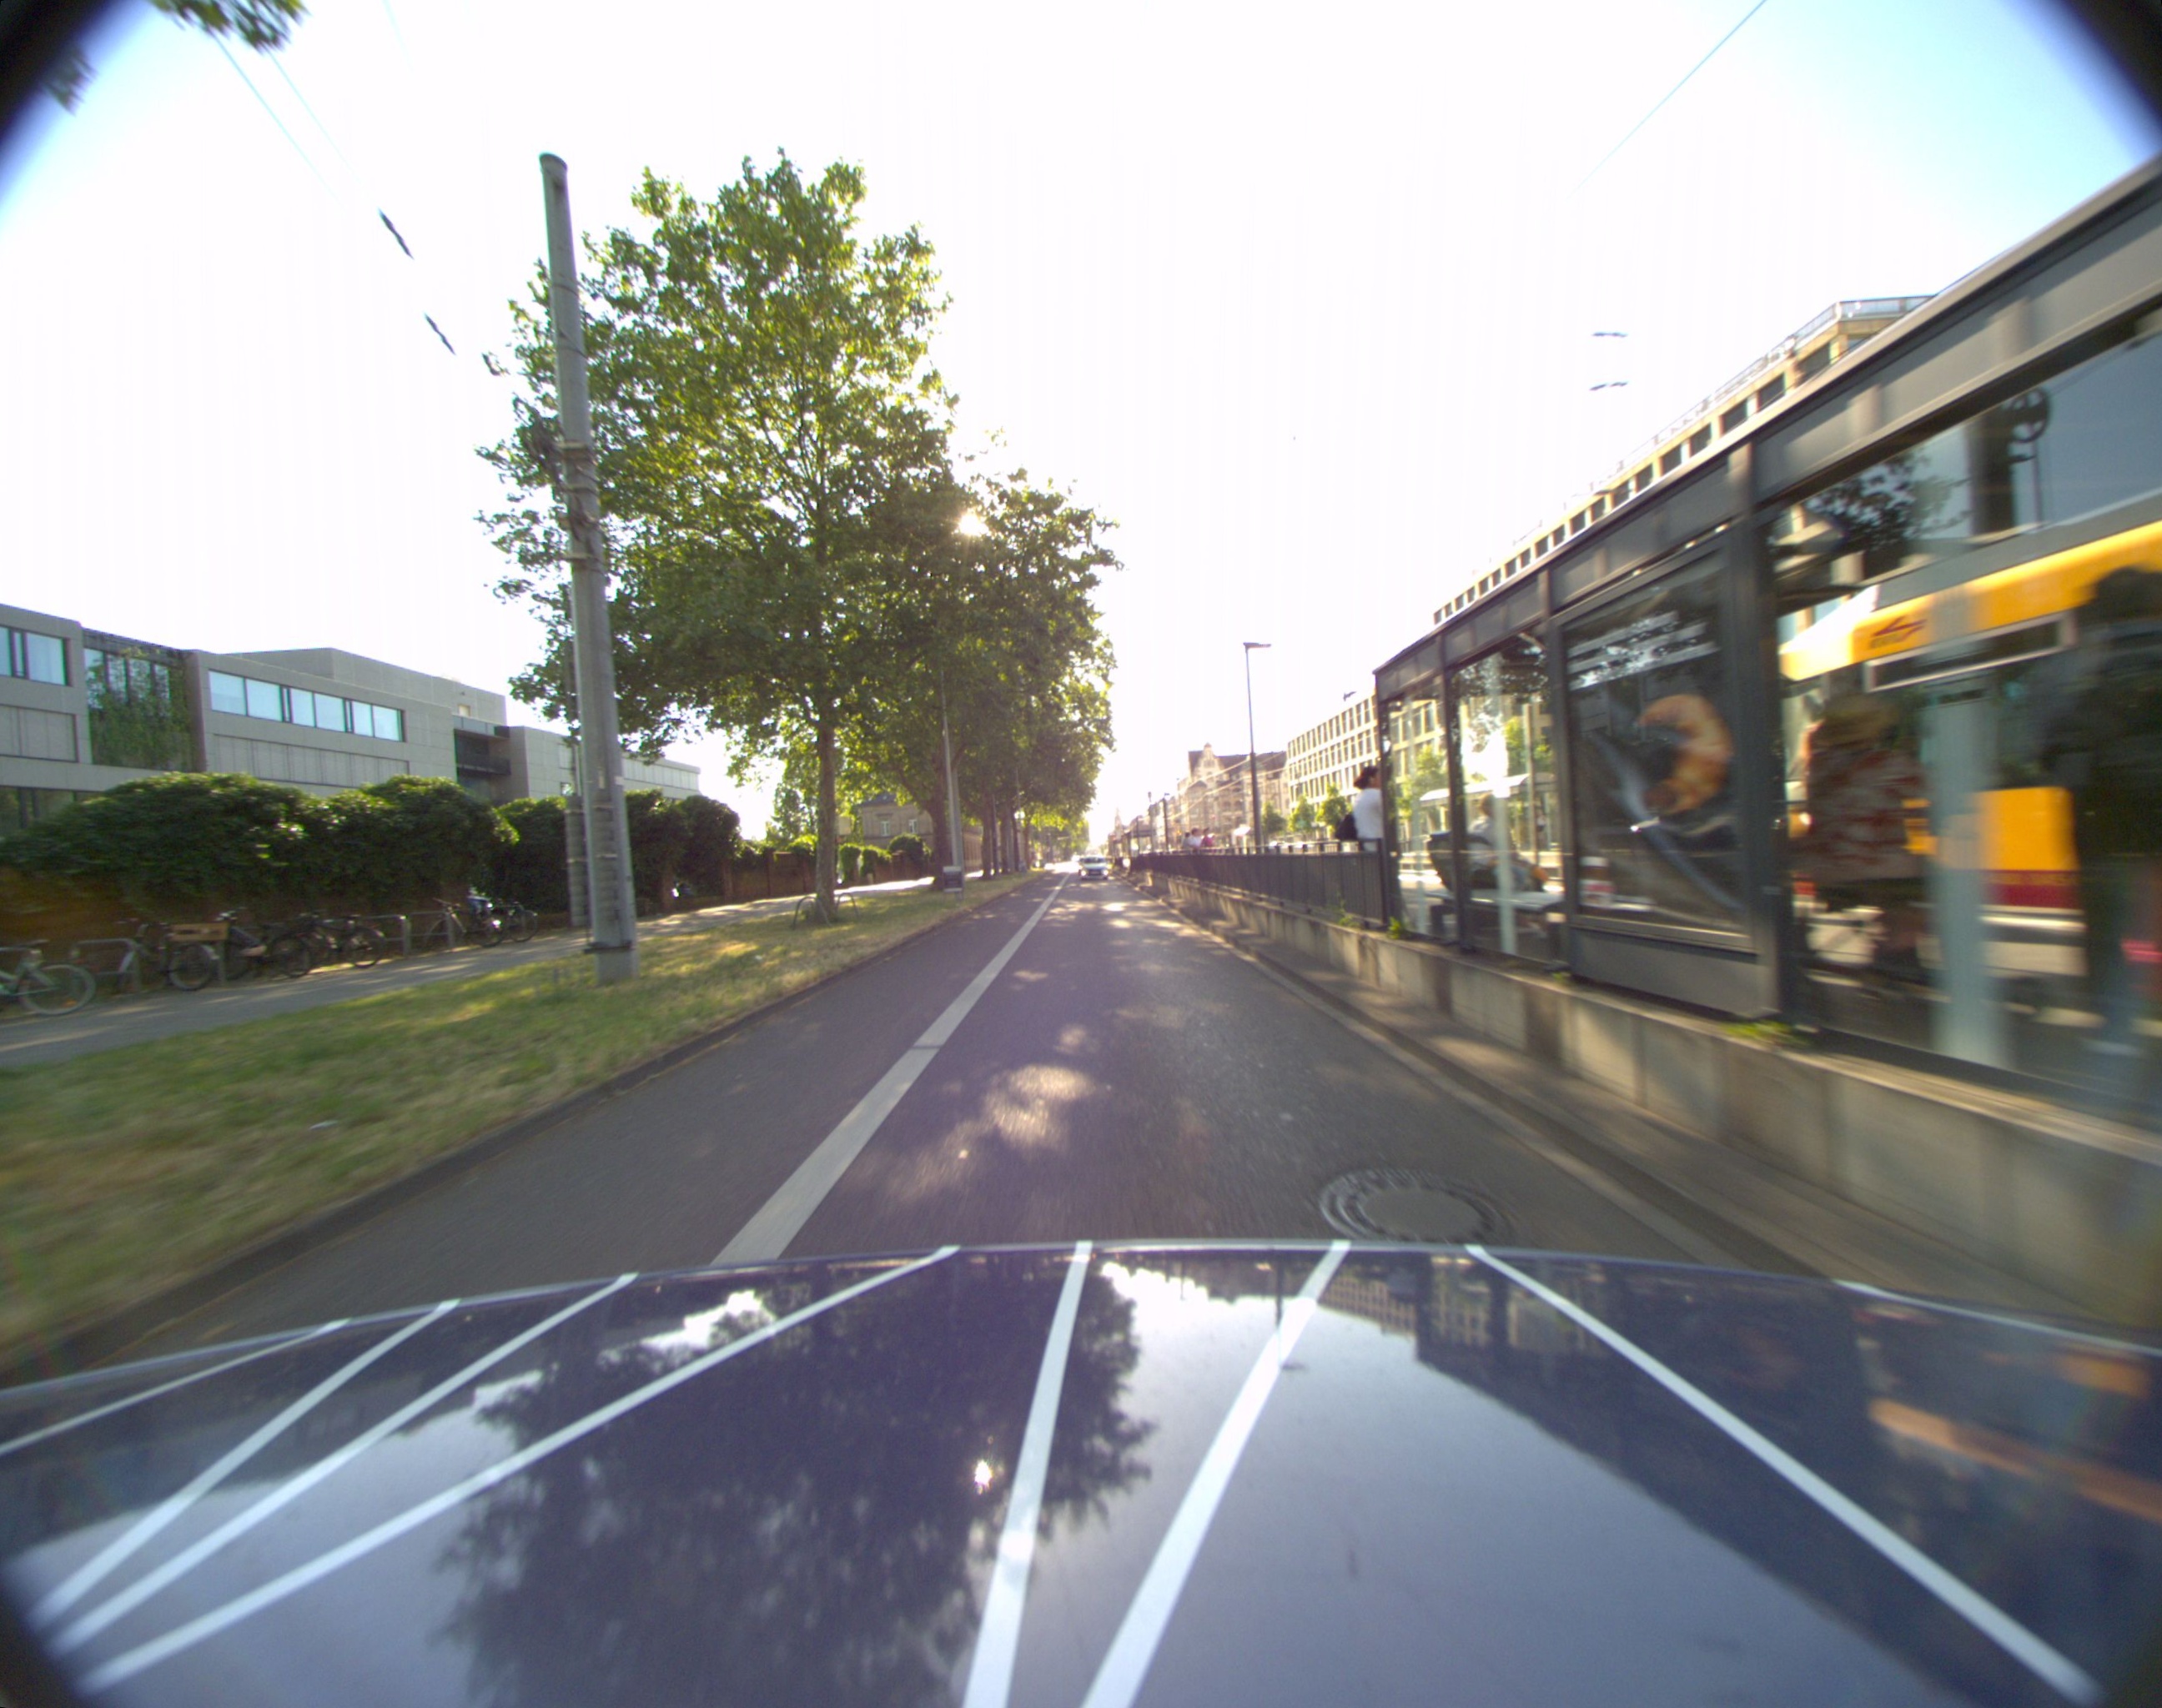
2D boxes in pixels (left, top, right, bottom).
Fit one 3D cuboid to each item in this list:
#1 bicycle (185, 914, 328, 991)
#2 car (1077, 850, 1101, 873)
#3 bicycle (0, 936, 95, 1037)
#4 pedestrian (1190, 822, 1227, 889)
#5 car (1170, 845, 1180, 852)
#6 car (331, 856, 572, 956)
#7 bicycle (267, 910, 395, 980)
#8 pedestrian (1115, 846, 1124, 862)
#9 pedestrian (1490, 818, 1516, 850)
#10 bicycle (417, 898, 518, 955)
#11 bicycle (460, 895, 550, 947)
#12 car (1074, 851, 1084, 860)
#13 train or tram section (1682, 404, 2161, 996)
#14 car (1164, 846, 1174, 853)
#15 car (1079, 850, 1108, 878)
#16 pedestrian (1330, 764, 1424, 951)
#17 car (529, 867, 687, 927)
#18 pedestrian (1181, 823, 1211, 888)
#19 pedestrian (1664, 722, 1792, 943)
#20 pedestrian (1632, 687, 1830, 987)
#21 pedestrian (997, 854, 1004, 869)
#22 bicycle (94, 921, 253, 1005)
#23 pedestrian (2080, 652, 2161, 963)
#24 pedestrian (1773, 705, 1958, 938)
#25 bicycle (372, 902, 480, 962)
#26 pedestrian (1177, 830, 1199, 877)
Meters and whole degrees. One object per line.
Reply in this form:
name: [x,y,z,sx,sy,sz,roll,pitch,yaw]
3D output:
bicycle: [-13.375,1.588,12.346,1.777,1.114,0.439,-2,1,0]
car: [0.676,0.576,59.924,1.648,1.555,3.666,-5,0,3]
bicycle: [-13.201,1.622,9.163,1.778,1.114,0.439,-3,1,-6]
pedestrian: [3.223,0.032,19.191,0.614,1.633,0.612,-4,1,-19]
car: [22.812,-1.360,184.621,1.780,1.660,3.999,-4,0,-2]
car: [-19.087,1.532,23.227,5.475,2.476,2.000,-5,1,0]
bicycle: [-13.355,1.615,13.546,1.777,1.114,0.439,-2,1,0]
pedestrian: [3.721,0.015,73.429,0.747,1.500,0.666,-3,1,3]
pedestrian: [17.466,-0.816,31.447,0.616,1.253,0.724,-4,1,4]
bicycle: [-13.407,1.578,16.630,1.777,1.114,0.439,-2,1,0]
bicycle: [-13.396,1.552,17.696,1.692,1.114,0.439,-2,1,0]
car: [-0.327,0.290,156.677,1.833,1.645,3.999,-5,1,1]
train or tram section: [8.639,-1.057,1.638,3.317,3.807,14.217,-4,0,0]
car: [22.591,-1.179,195.170,1.741,1.516,3.998,-5,0,-5]
car: [0.737,0.588,47.442,1.649,1.555,3.665,-4,0,0]
pedestrian: [2.962,0.036,7.654,0.613,1.774,0.613,-4,1,1]
car: [-19.867,1.773,32.080,5.276,1.970,2.000,-5,1,0]
pedestrian: [3.048,0.028,20.193,0.613,1.659,0.613,-4,1,2]
pedestrian: [5.602,-0.182,6.578,0.796,1.774,0.647,-5,1,-39]
pedestrian: [4.170,-0.101,4.922,0.611,1.774,0.681,-4,1,1]
pedestrian: [-9.774,0.893,91.876,0.771,1.734,0.796,-2,1,-6]
bicycle: [-13.610,1.626,11.417,1.777,1.114,0.439,-2,1,0]
pedestrian: [6.468,-0.279,4.272,0.613,1.774,0.775,-4,1,1]
pedestrian: [6.435,-0.255,6.267,0.795,1.774,0.625,-4,1,1]
bicycle: [-13.497,1.597,15.681,1.777,1.114,0.439,-2,1,0]
pedestrian: [3.665,-0.011,25.980,0.615,1.540,0.725,-4,1,11]
